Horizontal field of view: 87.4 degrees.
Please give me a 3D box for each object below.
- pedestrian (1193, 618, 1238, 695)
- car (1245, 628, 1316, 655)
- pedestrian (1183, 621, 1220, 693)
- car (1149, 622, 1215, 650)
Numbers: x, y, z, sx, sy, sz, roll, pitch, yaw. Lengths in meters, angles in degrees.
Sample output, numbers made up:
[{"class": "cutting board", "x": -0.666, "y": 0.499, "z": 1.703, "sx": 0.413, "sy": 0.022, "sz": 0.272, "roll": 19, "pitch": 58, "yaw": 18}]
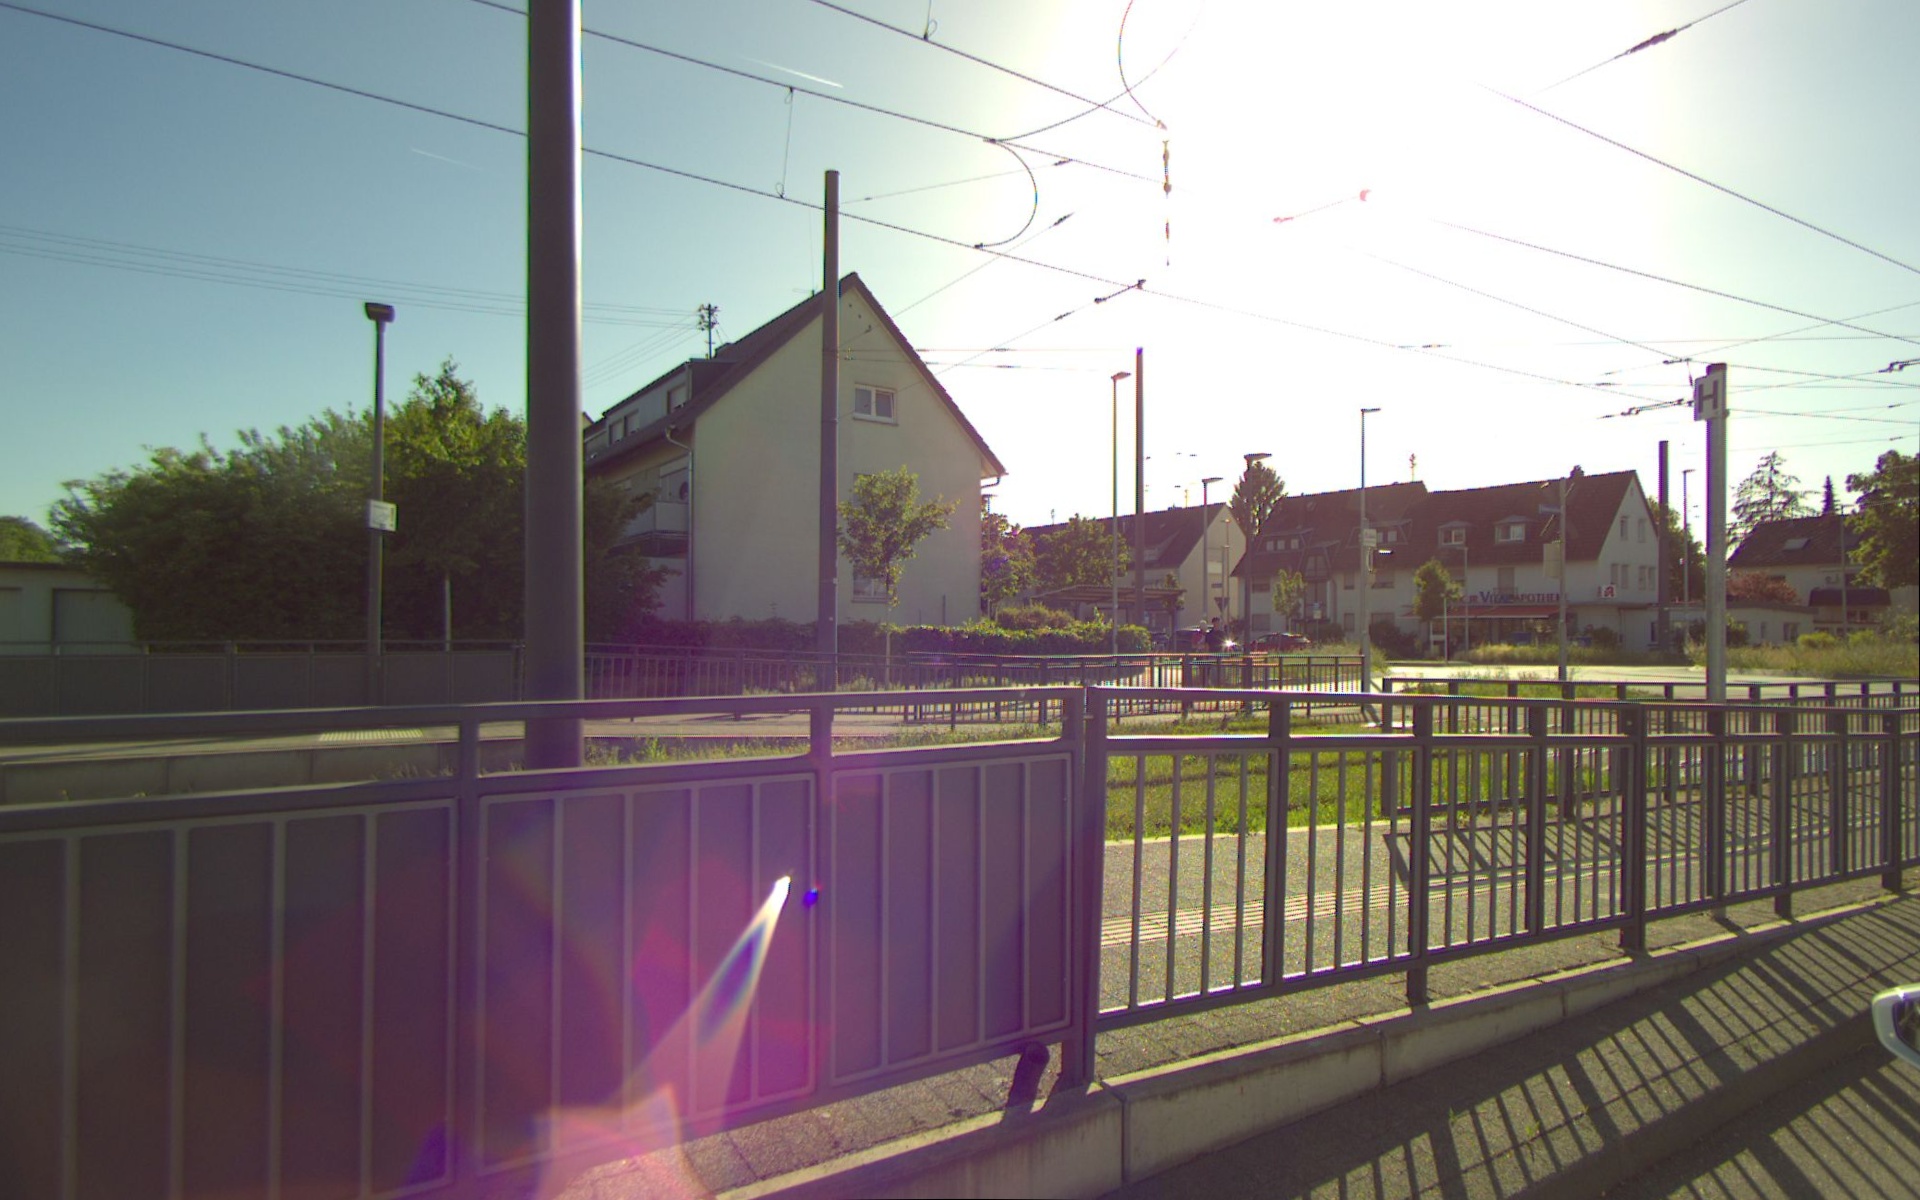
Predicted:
[{"class": "pedestrian", "x": 6.058, "y": 1.328, "z": 23.827, "sx": 0.764, "sy": 1.785, "sz": 0.724, "roll": 1, "pitch": -2, "yaw": -33}, {"class": "car", "x": 18.306, "y": 2.368, "z": 57.537, "sx": 1.806, "sy": 1.492, "sz": 3.481, "roll": 1, "pitch": -2, "yaw": -39}, {"class": "pedestrian", "x": 6.009, "y": 1.404, "z": 25.014, "sx": 0.682, "sy": 1.755, "sz": 0.589, "roll": 1, "pitch": -2, "yaw": -33}, {"class": "car", "x": 14.027, "y": 2.288, "z": 63.600, "sx": 1.812, "sy": 1.620, "sz": 3.807, "roll": 2, "pitch": -1, "yaw": -39}]
